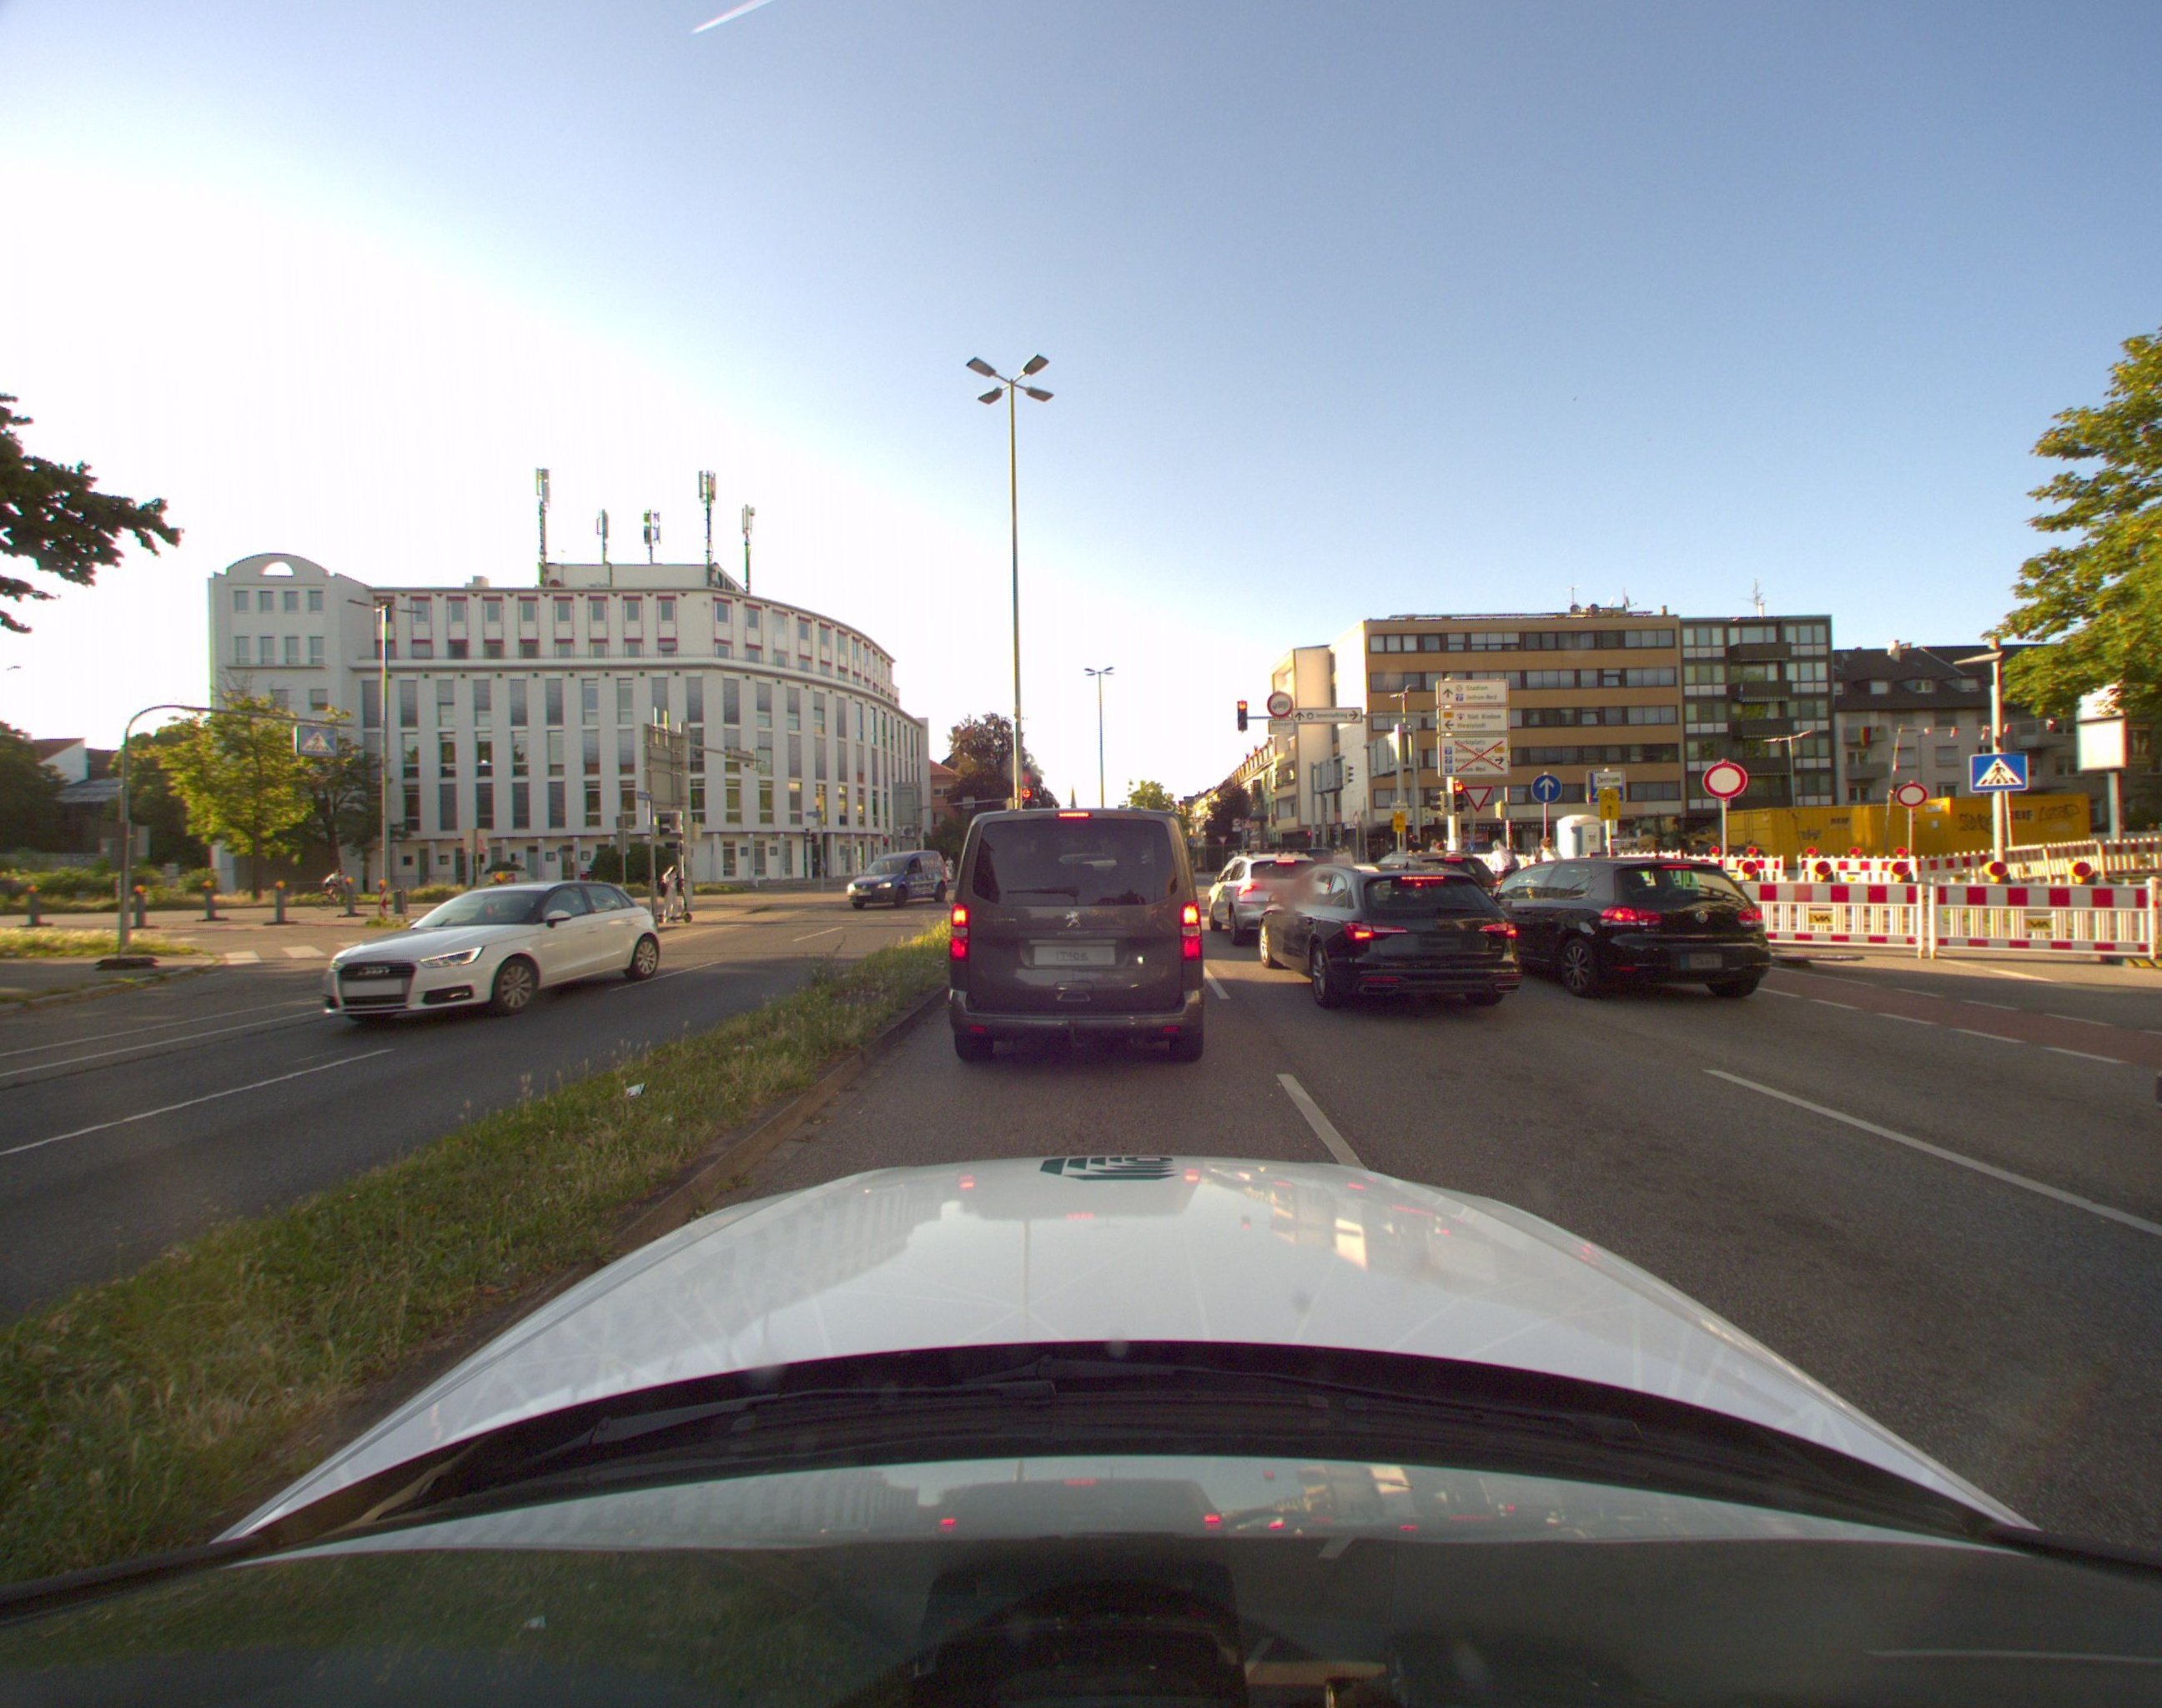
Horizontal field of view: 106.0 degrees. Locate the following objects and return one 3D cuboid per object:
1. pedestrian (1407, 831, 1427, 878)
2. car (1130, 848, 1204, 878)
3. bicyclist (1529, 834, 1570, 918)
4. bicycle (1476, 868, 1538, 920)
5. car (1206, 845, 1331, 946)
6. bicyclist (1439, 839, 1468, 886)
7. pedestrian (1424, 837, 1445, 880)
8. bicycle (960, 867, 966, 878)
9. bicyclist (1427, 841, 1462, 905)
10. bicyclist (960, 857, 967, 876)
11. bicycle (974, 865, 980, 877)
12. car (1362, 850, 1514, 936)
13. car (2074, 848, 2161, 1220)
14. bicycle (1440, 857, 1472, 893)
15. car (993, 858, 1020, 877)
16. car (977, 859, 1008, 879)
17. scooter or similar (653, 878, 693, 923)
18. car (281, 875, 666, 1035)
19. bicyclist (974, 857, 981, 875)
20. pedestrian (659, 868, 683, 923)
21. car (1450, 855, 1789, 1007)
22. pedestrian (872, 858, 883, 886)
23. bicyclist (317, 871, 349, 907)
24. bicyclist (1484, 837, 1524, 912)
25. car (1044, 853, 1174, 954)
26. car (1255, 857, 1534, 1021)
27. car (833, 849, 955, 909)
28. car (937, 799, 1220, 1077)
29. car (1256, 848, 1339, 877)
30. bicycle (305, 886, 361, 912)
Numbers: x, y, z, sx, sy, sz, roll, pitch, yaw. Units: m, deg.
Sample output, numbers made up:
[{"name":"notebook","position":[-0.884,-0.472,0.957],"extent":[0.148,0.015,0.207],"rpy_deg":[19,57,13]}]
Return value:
[{"name":"pedestrian","position":[13.248,0.030,32.087],"extent":[0.567,1.834,0.488],"rpy_deg":[-2,0,4]},{"name":"car","position":[5.070,0.528,48.525],"extent":[4.109,1.594,1.793],"rpy_deg":[-2,-1,-4]},{"name":"bicyclist","position":[8.642,0.400,15.033],"extent":[0.439,1.525,0.482],"rpy_deg":[-2,0,1]},{"name":"bicycle","position":[8.911,0.809,17.102],"extent":[0.335,1.008,1.856],"rpy_deg":[-2,0,2]},{"name":"car","position":[3.294,0.673,14.926],"extent":[1.523,1.613,3.746],"rpy_deg":[0,0,2]},{"name":"bicyclist","position":[12.838,0.288,28.055],"extent":[0.616,1.589,0.814],"rpy_deg":[0,0,-2]},{"name":"pedestrian","position":[13.962,0.180,32.166],"extent":[0.599,1.671,0.455],"rpy_deg":[-2,0,3]},{"name":"bicycle","position":[-9.800,1.536,67.739],"extent":[0.289,0.949,1.073],"rpy_deg":[-2,0,2]},{"name":"bicyclist","position":[8.976,0.459,20.122],"extent":[0.511,1.525,0.725],"rpy_deg":[-2,0,1]},{"name":"bicyclist","position":[-9.809,1.056,67.730],"extent":[0.461,1.522,0.469],"rpy_deg":[-2,0,1]},{"name":"bicycle","position":[-8.783,1.426,68.799],"extent":[0.275,0.949,1.073],"rpy_deg":[-2,0,2]},{"name":"car","position":[6.580,0.659,15.359],"extent":[1.499,1.449,3.306],"rpy_deg":[0,0,2]},{"name":"car","position":[5.125,0.688,1.125],"extent":[1.809,1.449,4.665],"rpy_deg":[-1,0,-1]},{"name":"bicycle","position":[12.883,0.713,28.029],"extent":[0.371,1.161,1.499],"rpy_deg":[0,1,-2]},{"name":"car","position":[-6.223,1.112,68.398],"extent":[1.850,1.420,4.000],"rpy_deg":[-2,0,0]},{"name":"car","position":[-6.775,1.121,62.769],"extent":[1.850,1.420,4.000],"rpy_deg":[-2,0,0]},{"name":"scooter or similar","position":[-11.484,1.305,22.928],"extent":[0.893,1.234,0.370],"rpy_deg":[-2,0,-10]},{"name":"car","position":[-6.849,1.033,9.758],"extent":[1.685,1.387,3.688],"rpy_deg":[-3,0,2]},{"name":"bicyclist","position":[-8.763,1.017,68.738],"extent":[0.475,1.555,0.510],"rpy_deg":[-2,0,1]},{"name":"pedestrian","position":[-11.565,1.168,22.978],"extent":[0.474,1.505,0.334],"rpy_deg":[-2,0,-10]},{"name":"car","position":[5.976,0.735,9.638],"extent":[1.627,1.449,3.746],"rpy_deg":[0,0,2]},{"name":"pedestrian","position":[-12.823,1.151,51.368],"extent":[0.626,1.722,0.668],"rpy_deg":[-2,0,-12]},{"name":"bicyclist","position":[-31.893,1.472,34.740],"extent":[0.884,1.496,0.457],"rpy_deg":[-2,0,-5]},{"name":"bicyclist","position":[8.910,0.424,17.186],"extent":[0.439,1.525,0.725],"rpy_deg":[-2,0,2]},{"name":"car","position":[0.502,0.774,14.735],"extent":[1.986,1.530,4.002],"rpy_deg":[-2,0,2]},{"name":"car","position":[3.200,0.758,9.262],"extent":[1.675,1.421,4.215],"rpy_deg":[0,0,2]},{"name":"car","position":[-6.207,0.775,27.544],"extent":[1.977,1.817,4.250],"rpy_deg":[-2,0,19]},{"name":"car","position":[0.052,0.569,7.745],"extent":[1.900,1.863,4.528],"rpy_deg":[0,0,2]},{"name":"car","position":[11.694,0.462,44.042],"extent":[3.992,1.418,1.674],"rpy_deg":[-2,0,-14]},{"name":"bicycle","position":[-31.895,1.907,34.739],"extent":[1.795,1.042,0.502],"rpy_deg":[-2,0,-5]}]
